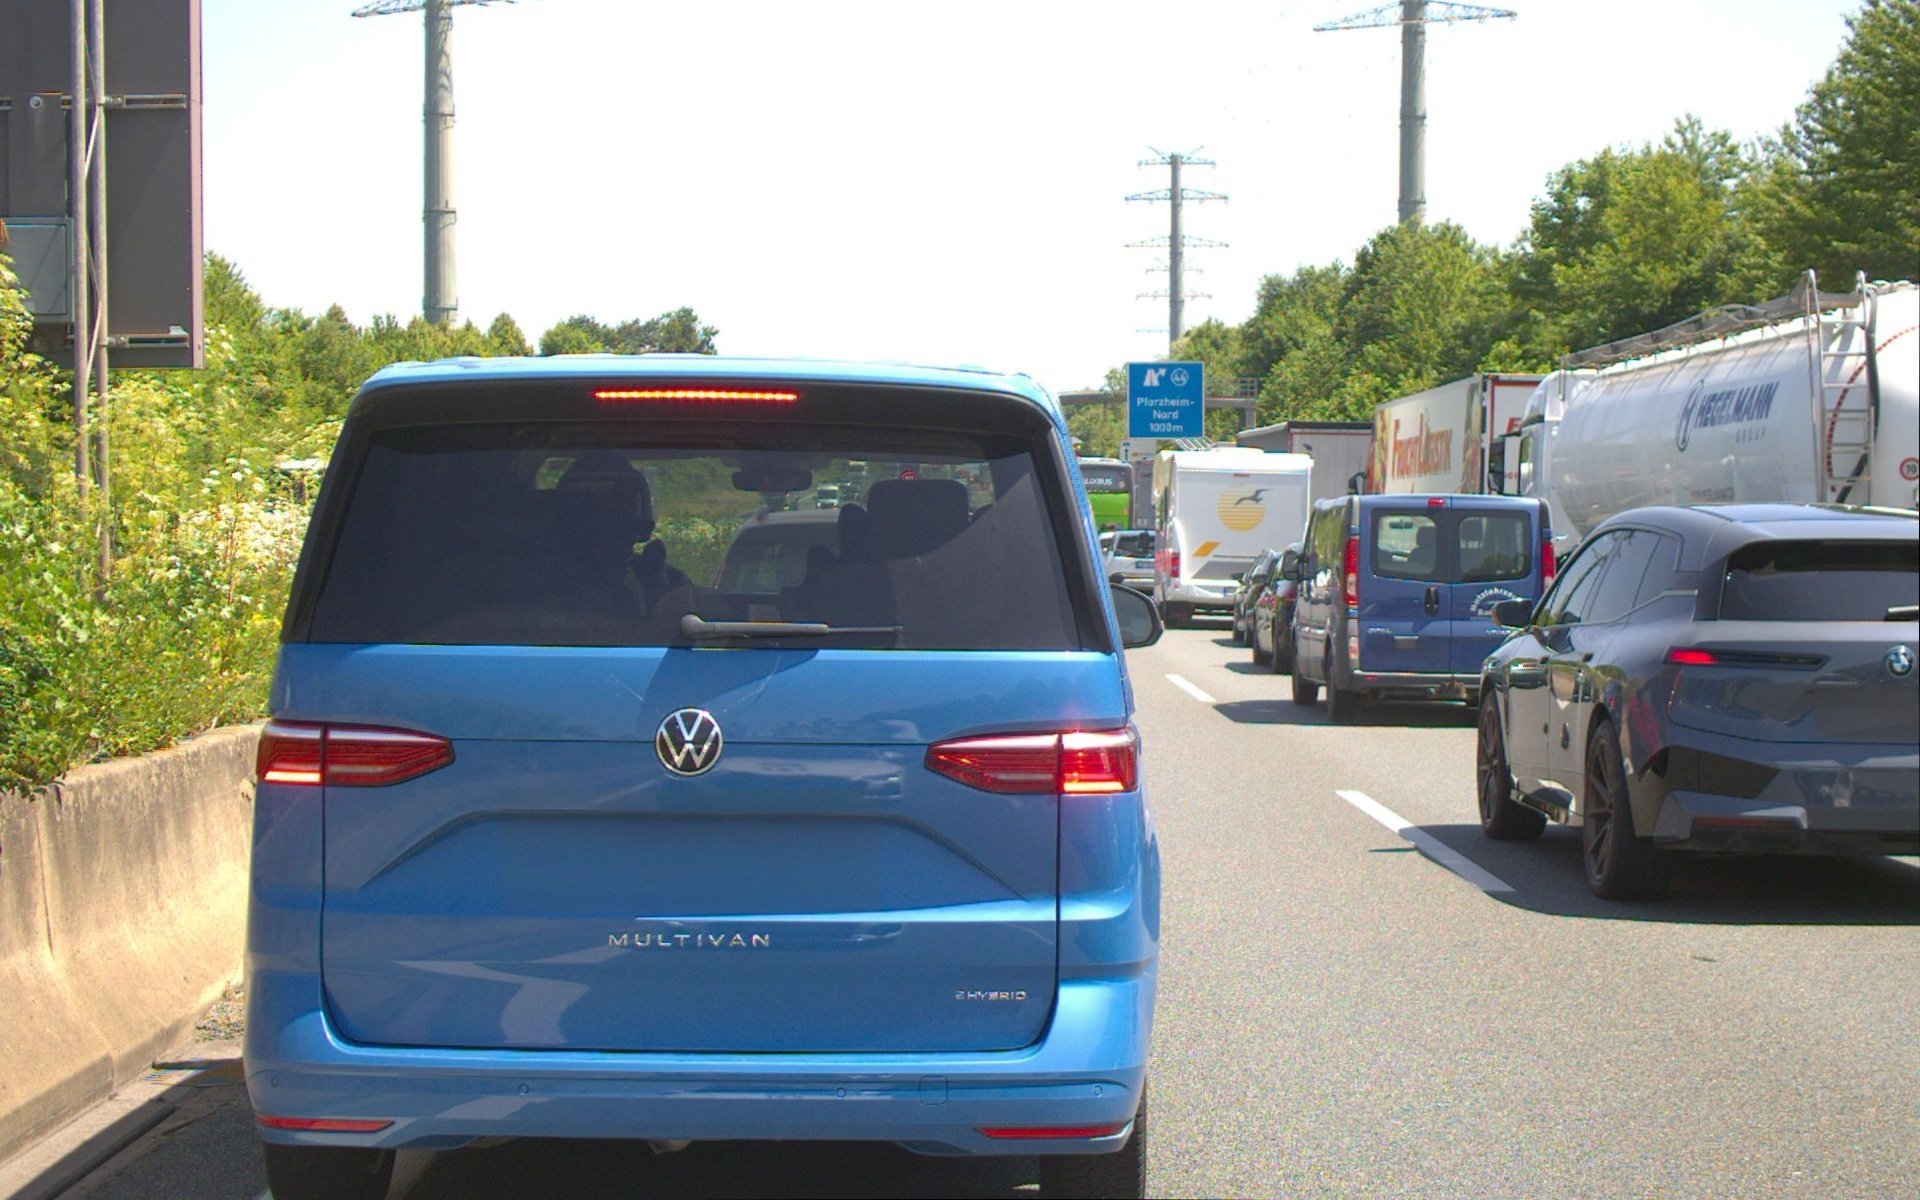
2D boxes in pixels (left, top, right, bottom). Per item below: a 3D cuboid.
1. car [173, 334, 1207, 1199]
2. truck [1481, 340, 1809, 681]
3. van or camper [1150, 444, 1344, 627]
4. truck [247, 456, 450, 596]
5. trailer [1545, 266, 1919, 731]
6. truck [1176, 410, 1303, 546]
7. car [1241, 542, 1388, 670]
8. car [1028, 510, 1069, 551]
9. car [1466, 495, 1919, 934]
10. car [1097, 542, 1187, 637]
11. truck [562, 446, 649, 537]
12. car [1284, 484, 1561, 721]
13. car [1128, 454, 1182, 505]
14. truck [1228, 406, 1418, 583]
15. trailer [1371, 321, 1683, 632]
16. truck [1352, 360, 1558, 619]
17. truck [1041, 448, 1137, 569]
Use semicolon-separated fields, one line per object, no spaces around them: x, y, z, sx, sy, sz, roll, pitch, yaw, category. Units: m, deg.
-0.514;0.416;8.497;1.920;1.880;4.000;1;1;0;car
8.130;-1.055;41.478;2.793;3.823;5.572;0;1;0;truck
4.929;-1.098;60.260;2.957;3.011;7.102;0;1;1;van or camper
-15.263;-1.835;86.763;2.765;3.277;11.819;0;1;1;truck
8.225;-0.935;34.156;2.761;3.831;11.487;0;1;-1;trailer
8.254;-3.528;103.034;2.895;3.753;13.345;0;1;1;truck
4.154;0.056;40.679;1.360;1.415;3.884;-1;0;1;car
4.646;-3.618;180.340;1.993;2.118;4.000;0;1;-1;car
3.633;0.435;15.722;1.999;1.709;4.625;0;0;1;car
3.980;-0.232;75.645;1.836;1.991;4.000;-1;0;1;car
-14.648;-4.460;142.384;3.071;3.697;5.463;0;1;0;truck
4.010;0.012;30.454;1.923;1.919;4.235;-1;0;1;car
7.956;-4.926;140.780;1.993;2.007;4.000;0;1;0;car
8.316;-2.327;80.869;3.006;3.753;15.713;0;1;1;truck
8.873;-1.870;55.449;2.912;4.453;12.155;0;1;-1;trailer
8.826;-1.947;61.792;2.912;4.453;5.143;0;1;0;truck
4.152;-2.923;112.681;2.895;3.753;10.140;0;1;1;truck
